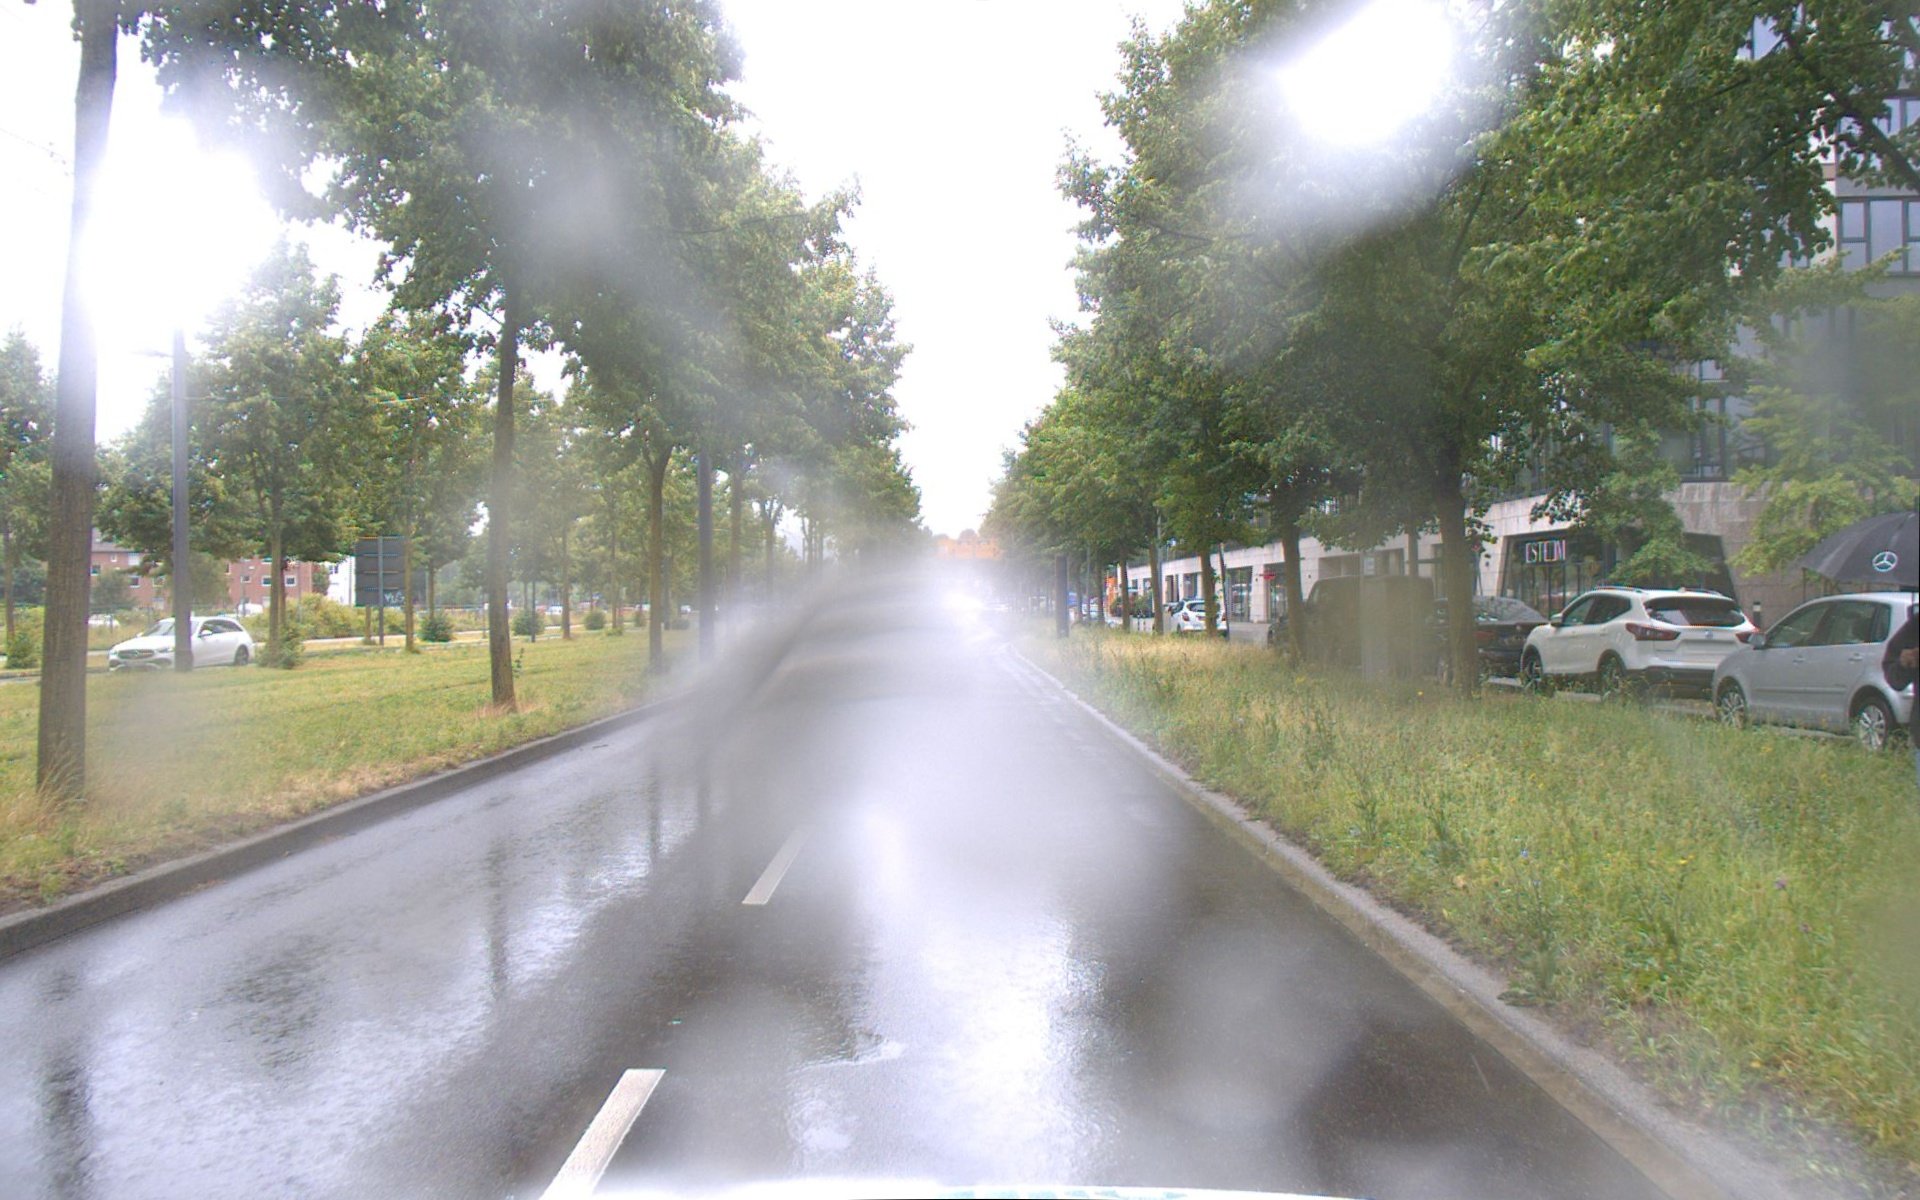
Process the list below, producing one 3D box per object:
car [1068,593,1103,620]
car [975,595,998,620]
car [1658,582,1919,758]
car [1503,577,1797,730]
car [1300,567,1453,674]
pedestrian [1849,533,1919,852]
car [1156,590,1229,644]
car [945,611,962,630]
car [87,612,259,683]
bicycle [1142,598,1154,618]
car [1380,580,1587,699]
[{"bbox_3d":[8.016,0.413,105.616,1.843,1.532,4.724,-1,2,0],"label":"car"},{"bbox_3d":[2.349,0.650,147.388,1.900,2.048,4.001,-1,2,0],"label":"car"},{"bbox_3d":[8.812,0.572,16.245,1.734,1.477,4.721,0,0,-3],"label":"car"},{"bbox_3d":[8.999,0.606,22.071,1.953,1.698,4.724,-1,2,0],"label":"car"},{"bbox_3d":[8.683,0.351,34.959,1.953,1.986,5.030,-1,2,0],"label":"car"},{"bbox_3d":[4.866,0.436,8.082,0.629,1.519,0.699,-1,0,-3],"label":"pedestrian"},{"bbox_3d":[8.309,0.579,59.556,1.953,1.698,4.724,-1,2,0],"label":"car"},{"bbox_3d":[-0.781,2.517,201.846,1.952,2.048,4.002,-1,2,2],"label":"car"},{"bbox_3d":[-20.290,1.186,42.908,1.910,1.486,4.834,-1,2,3],"label":"car"},{"bbox_3d":[17.621,0.728,154.911,0.756,1.752,3.120,-1,2,-1],"label":"bicycle"},{"bbox_3d":[8.780,0.589,28.213,1.953,1.698,4.959,-1,2,0],"label":"car"}]
